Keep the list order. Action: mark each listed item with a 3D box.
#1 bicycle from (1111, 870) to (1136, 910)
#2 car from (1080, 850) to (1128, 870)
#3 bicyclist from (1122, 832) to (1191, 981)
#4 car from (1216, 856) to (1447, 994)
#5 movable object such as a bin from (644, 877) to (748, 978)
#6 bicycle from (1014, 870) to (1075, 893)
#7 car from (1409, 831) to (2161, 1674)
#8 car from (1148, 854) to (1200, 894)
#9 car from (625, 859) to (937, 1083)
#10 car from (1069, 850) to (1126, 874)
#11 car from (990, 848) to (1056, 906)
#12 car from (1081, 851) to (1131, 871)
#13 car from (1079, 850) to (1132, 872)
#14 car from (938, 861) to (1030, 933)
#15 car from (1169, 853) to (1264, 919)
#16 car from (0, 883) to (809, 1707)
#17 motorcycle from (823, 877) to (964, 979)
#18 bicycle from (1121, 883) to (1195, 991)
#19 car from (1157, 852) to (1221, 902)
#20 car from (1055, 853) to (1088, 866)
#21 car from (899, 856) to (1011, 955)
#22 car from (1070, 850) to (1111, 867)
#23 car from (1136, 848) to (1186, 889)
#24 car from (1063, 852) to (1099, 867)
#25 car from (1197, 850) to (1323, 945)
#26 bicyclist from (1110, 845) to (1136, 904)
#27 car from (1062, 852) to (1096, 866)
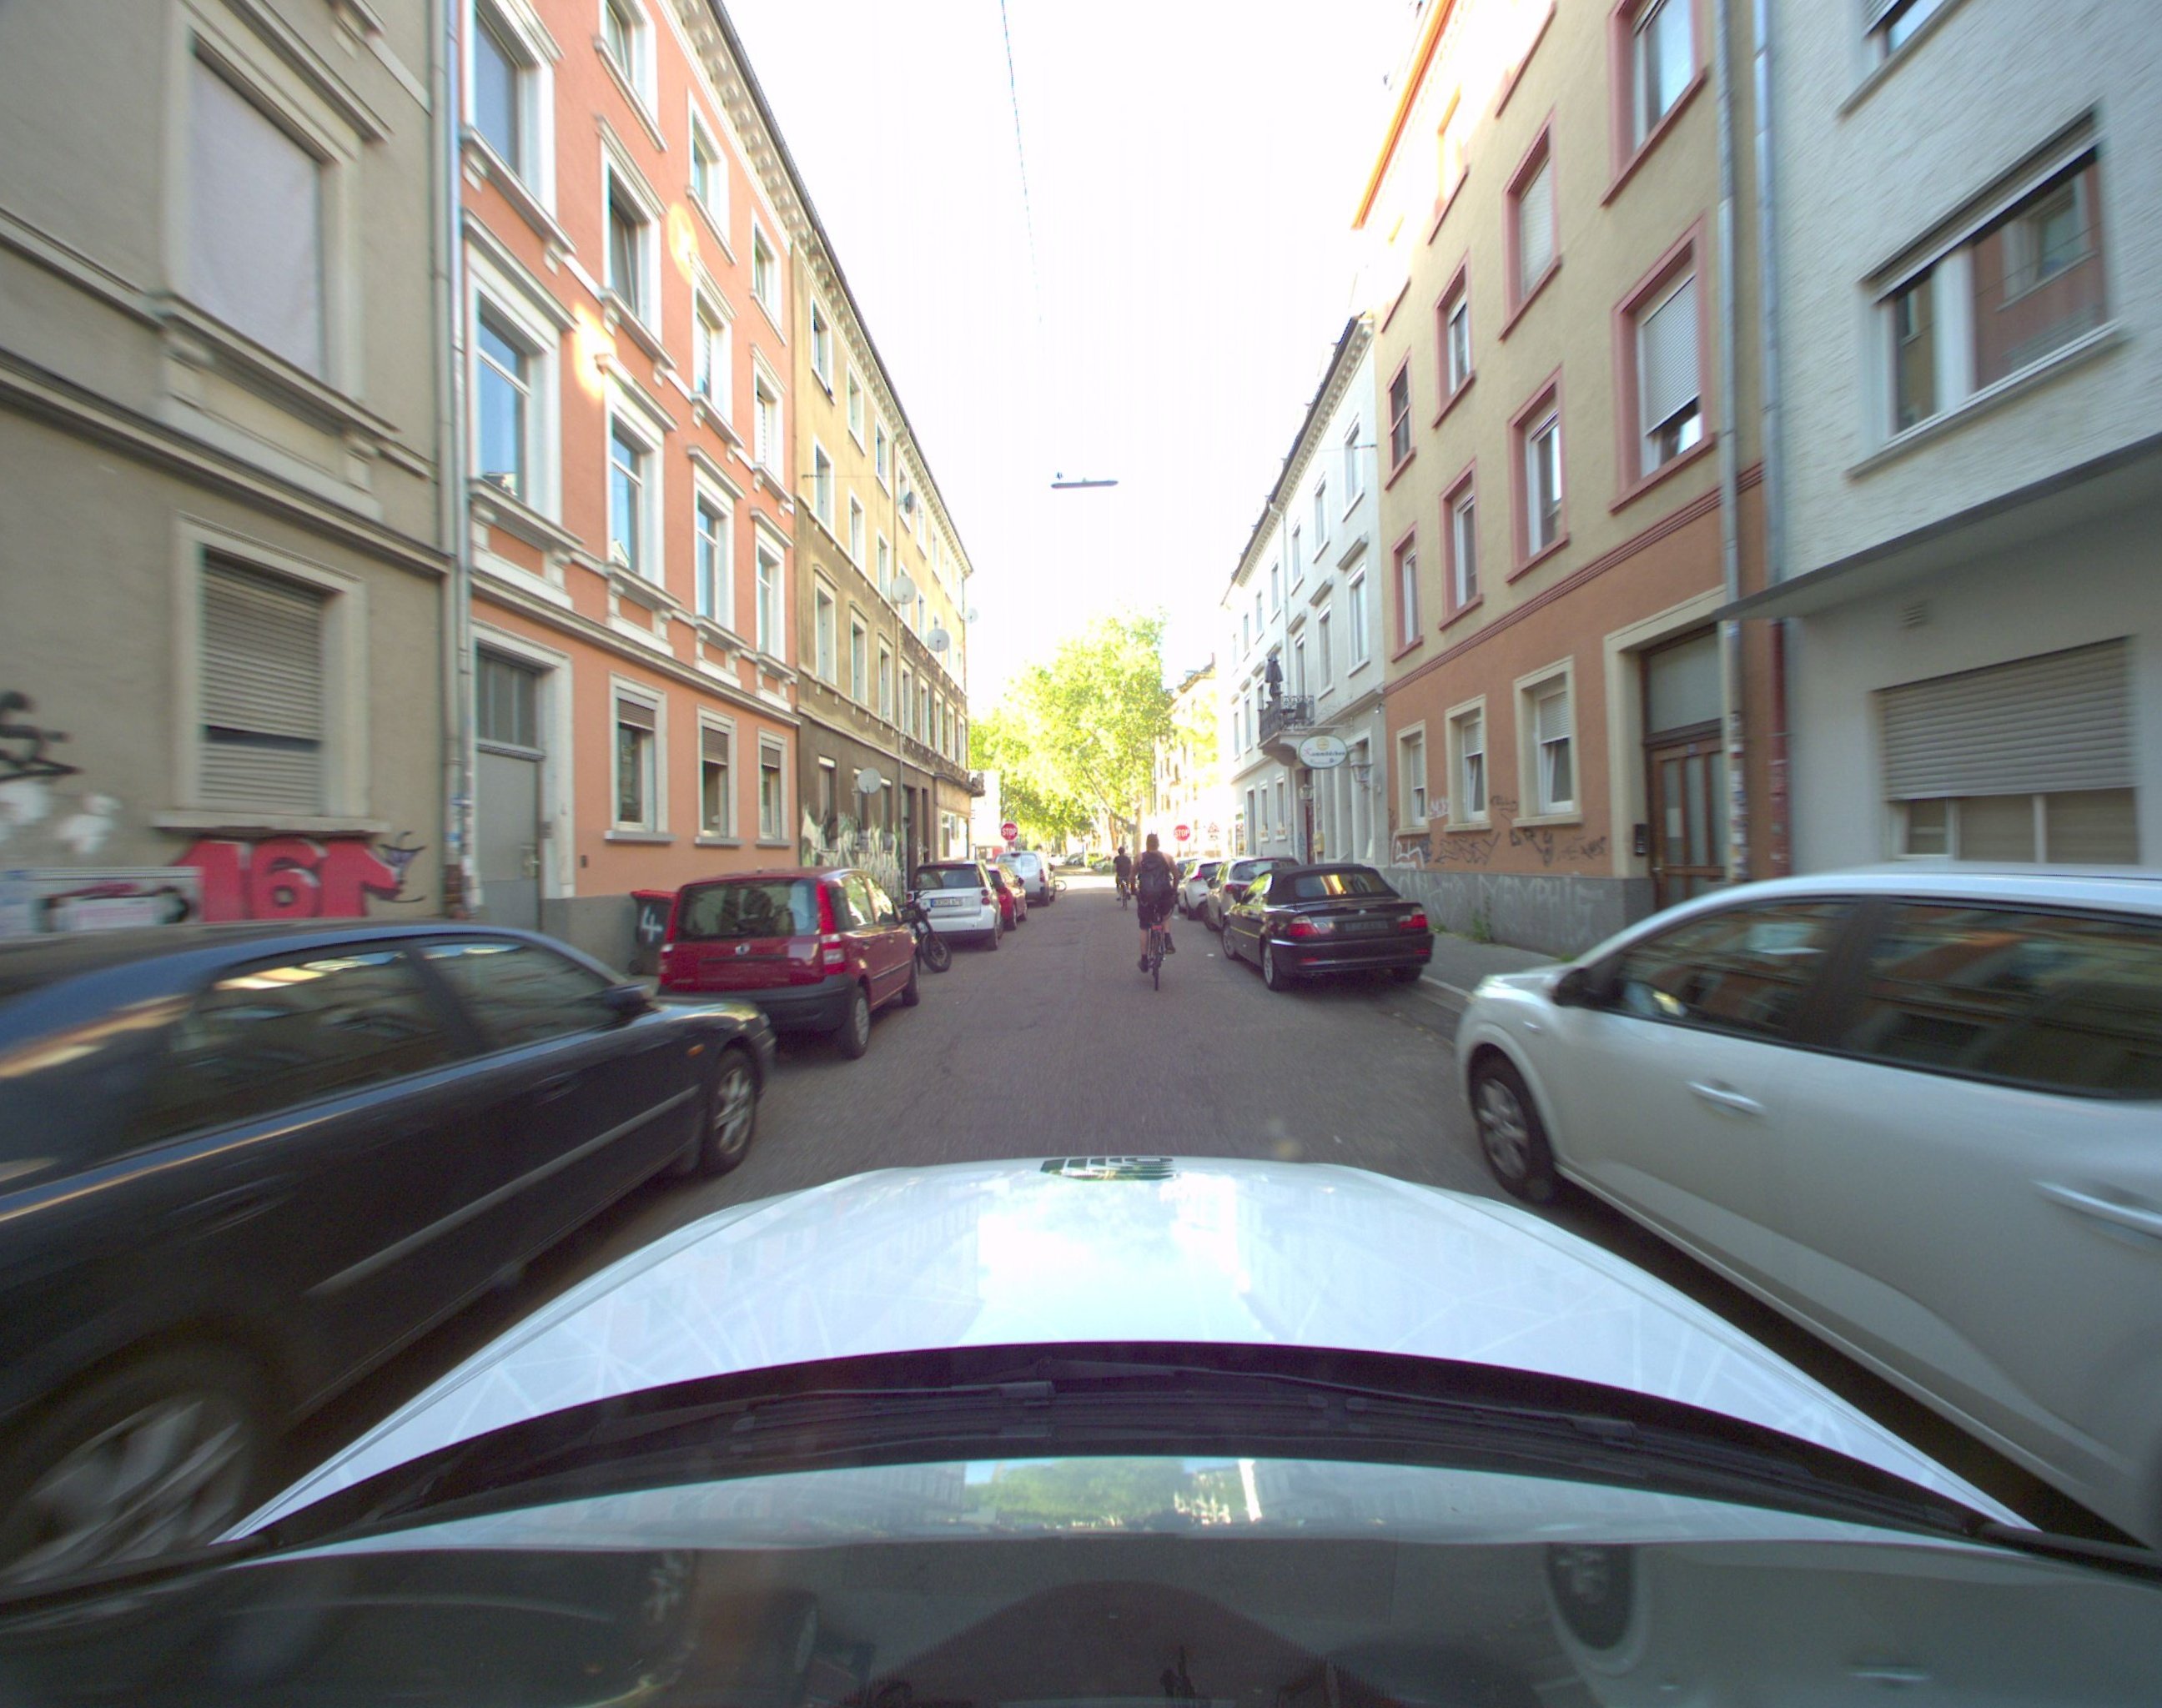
[{"bbox_3d":[1.227,1.034,23.814,0.661,1.037,1.959,-2,0,2],"label":"bicycle"},{"bbox_3d":[2.185,0.575,78.630,4.459,1.696,1.864,-2,0,-3],"label":"car"},{"bbox_3d":[0.877,0.589,9.734,0.737,1.679,1.117,0,0,1],"label":"bicyclist"},{"bbox_3d":[2.895,0.732,10.330,1.652,1.338,3.999,-2,0,0],"label":"car"},{"bbox_3d":[-4.864,0.912,10.330,0.831,1.126,0.716,-7,-1,4],"label":"movable object such as a bin"},{"bbox_3d":[-1.621,1.242,36.566,2.708,0.892,0.618,-2,0,-2],"label":"bicycle"},{"bbox_3d":[2.739,0.691,2.528,1.726,1.470,4.019,-2,0,-1],"label":"car"},{"bbox_3d":[3.750,0.788,33.446,1.681,1.471,3.574,-2,0,0],"label":"car"},{"bbox_3d":[-2.494,0.863,7.658,1.600,1.530,3.378,-3,0,0],"label":"car"},{"bbox_3d":[1.328,0.647,66.605,4.459,1.759,1.864,-2,0,-3],"label":"car"},{"bbox_3d":[-1.846,0.717,27.234,1.781,1.737,3.877,-2,0,1],"label":"car"},{"bbox_3d":[2.290,0.618,76.149,4.459,1.696,1.864,-2,0,-3],"label":"car"},{"bbox_3d":[2.112,0.615,71.543,4.459,1.696,1.864,-2,0,-3],"label":"car"},{"bbox_3d":[-2.132,0.918,18.796,1.547,1.399,3.668,-2,0,1],"label":"car"},{"bbox_3d":[3.341,0.739,20.764,1.705,1.470,3.999,-2,0,0],"label":"car"},{"bbox_3d":[-2.577,0.914,2.762,1.700,1.414,4.303,-2,0,2],"label":"car"},{"bbox_3d":[-2.578,0.986,11.285,1.797,1.256,0.707,-2,0,-13],"label":"motorcycle"},{"bbox_3d":[0.883,0.930,9.824,0.737,1.100,2.042,0,0,1],"label":"bicycle"},{"bbox_3d":[3.624,0.731,27.870,1.647,1.530,3.574,-2,0,0],"label":"car"},{"bbox_3d":[-1.330,0.750,114.561,4.459,1.696,1.864,-2,0,-3],"label":"car"},{"bbox_3d":[-2.207,0.847,15.032,1.540,1.550,3.463,-2,0,-1],"label":"car"},{"bbox_3d":[0.994,0.464,91.522,4.459,1.696,1.864,-2,0,-3],"label":"car"},{"bbox_3d":[3.708,0.660,38.361,1.887,1.769,3.999,-2,0,-1],"label":"car"},{"bbox_3d":[0.028,0.739,104.534,4.459,1.696,1.864,-2,0,-3],"label":"car"},{"bbox_3d":[3.215,0.715,15.306,1.586,1.492,3.877,-2,0,2],"label":"car"},{"bbox_3d":[1.224,0.590,23.671,0.667,1.658,0.877,-2,0,1],"label":"bicyclist"},{"bbox_3d":[-0.285,0.697,107.754,4.459,1.696,1.864,-2,0,-3],"label":"car"}]
